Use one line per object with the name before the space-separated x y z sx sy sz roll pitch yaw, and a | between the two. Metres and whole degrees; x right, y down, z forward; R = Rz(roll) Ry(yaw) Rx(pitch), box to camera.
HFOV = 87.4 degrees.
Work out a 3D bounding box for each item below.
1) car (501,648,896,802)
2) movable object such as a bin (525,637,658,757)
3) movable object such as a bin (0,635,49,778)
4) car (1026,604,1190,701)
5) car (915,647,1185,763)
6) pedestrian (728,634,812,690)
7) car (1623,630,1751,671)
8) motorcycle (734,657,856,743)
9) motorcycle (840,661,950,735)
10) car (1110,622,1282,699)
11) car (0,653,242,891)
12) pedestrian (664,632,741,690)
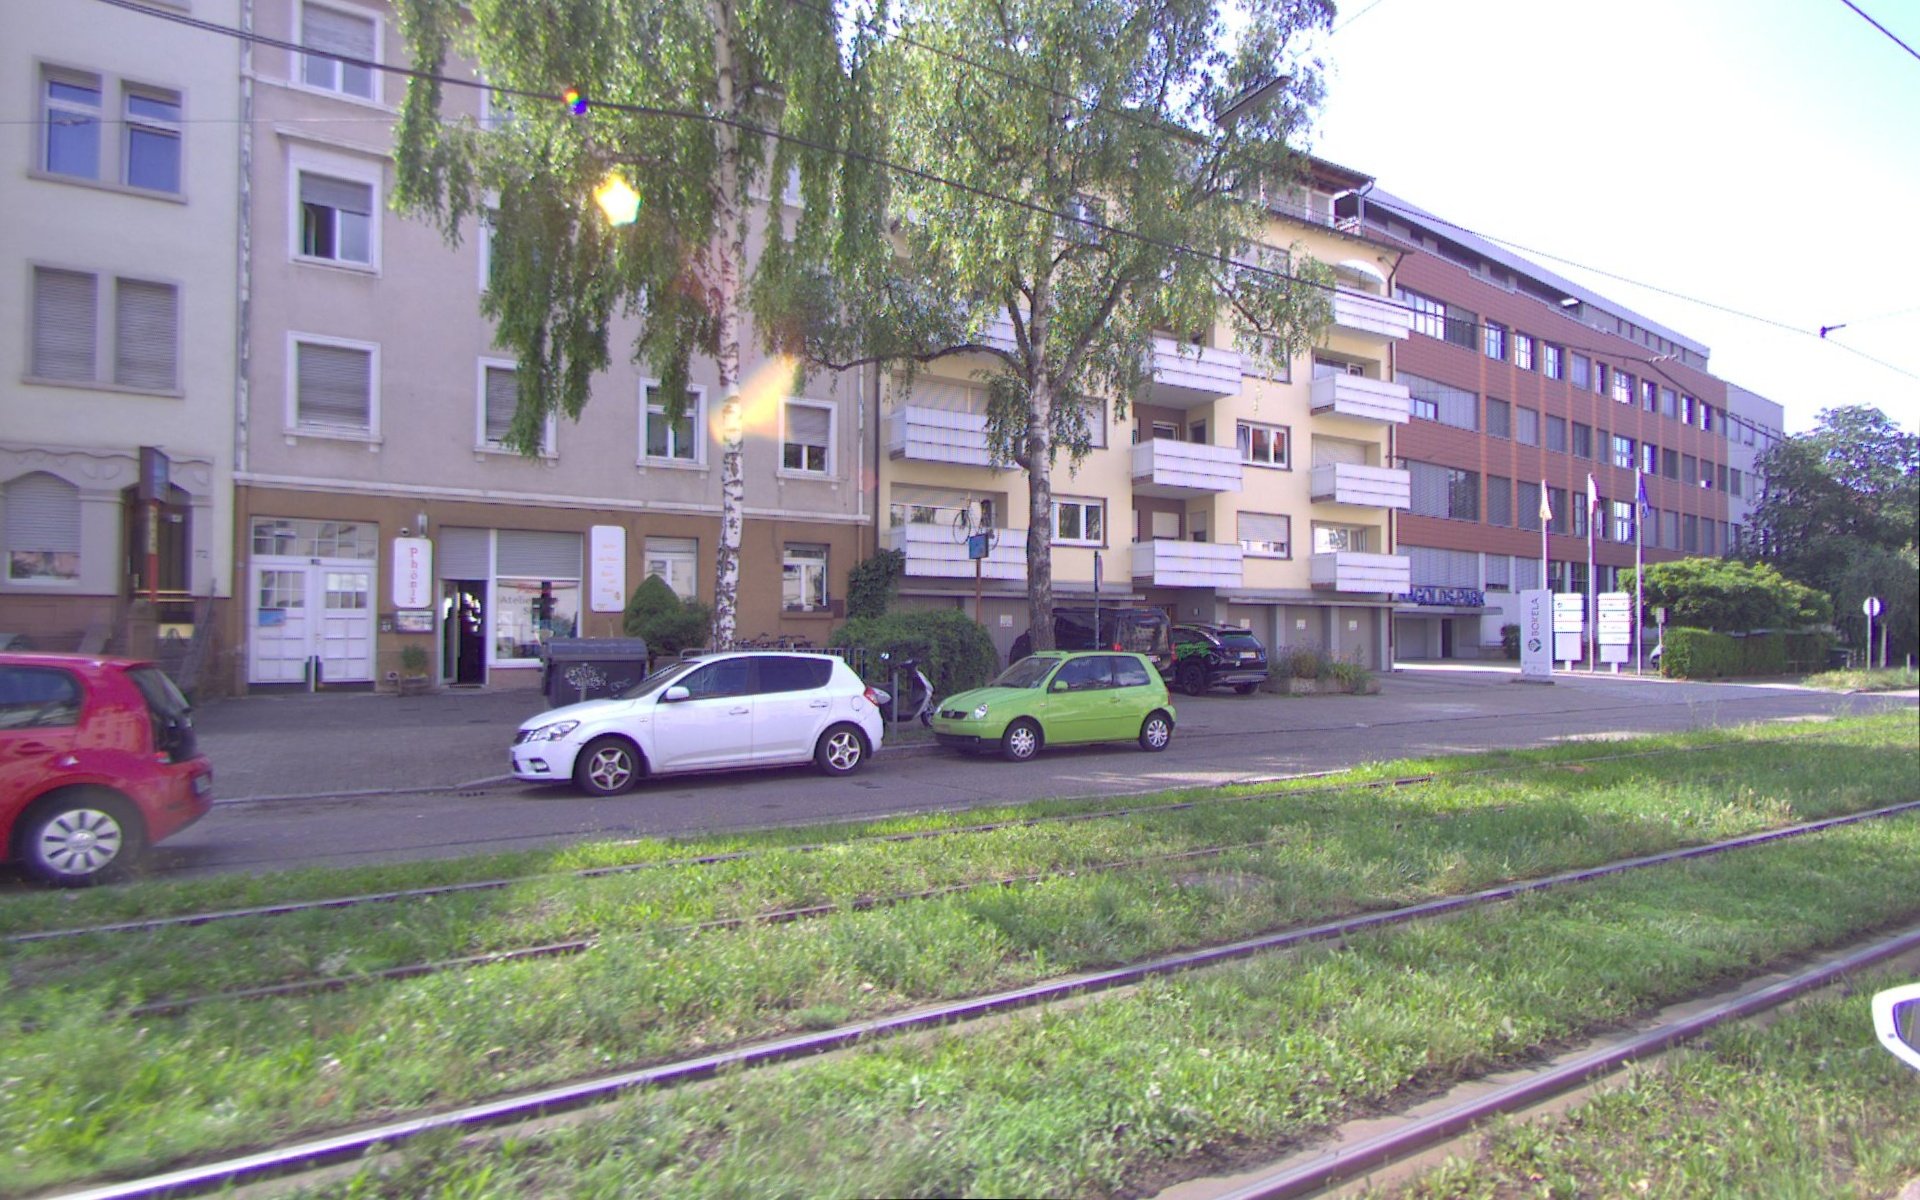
car | -2.967 1.321 11.636 4.174 1.496 1.638 1 -4 -29
movable object such as a bin | -4.892 1.244 13.327 1.504 1.449 0.946 1 0 -30
movable object such as a bin | -10.593 1.101 10.420 1.504 1.385 0.946 1 3 -30
car | 3.383 1.152 23.705 1.911 2.040 3.974 1 0 -26
car | 1.302 1.407 14.298 3.570 1.451 1.587 1 -3 -29
pedestrian | -4.185 1.315 21.955 1.116 1.144 2.502 1 -2 -28
car | 30.732 2.110 42.588 1.978 1.617 3.965 1 -2 -32
motorcycle | -2.410 1.426 14.695 1.615 1.167 0.731 1 -3 -32
motorcycle | -1.001 1.497 15.556 1.613 1.056 0.497 2 1 -31
car | 5.657 1.412 24.564 1.949 1.623 3.969 1 0 -29
car | -6.859 1.052 6.285 3.648 1.405 1.572 1 -3 -29
pedestrian | -5.452 1.261 21.155 1.053 1.153 2.395 1 -3 -28
